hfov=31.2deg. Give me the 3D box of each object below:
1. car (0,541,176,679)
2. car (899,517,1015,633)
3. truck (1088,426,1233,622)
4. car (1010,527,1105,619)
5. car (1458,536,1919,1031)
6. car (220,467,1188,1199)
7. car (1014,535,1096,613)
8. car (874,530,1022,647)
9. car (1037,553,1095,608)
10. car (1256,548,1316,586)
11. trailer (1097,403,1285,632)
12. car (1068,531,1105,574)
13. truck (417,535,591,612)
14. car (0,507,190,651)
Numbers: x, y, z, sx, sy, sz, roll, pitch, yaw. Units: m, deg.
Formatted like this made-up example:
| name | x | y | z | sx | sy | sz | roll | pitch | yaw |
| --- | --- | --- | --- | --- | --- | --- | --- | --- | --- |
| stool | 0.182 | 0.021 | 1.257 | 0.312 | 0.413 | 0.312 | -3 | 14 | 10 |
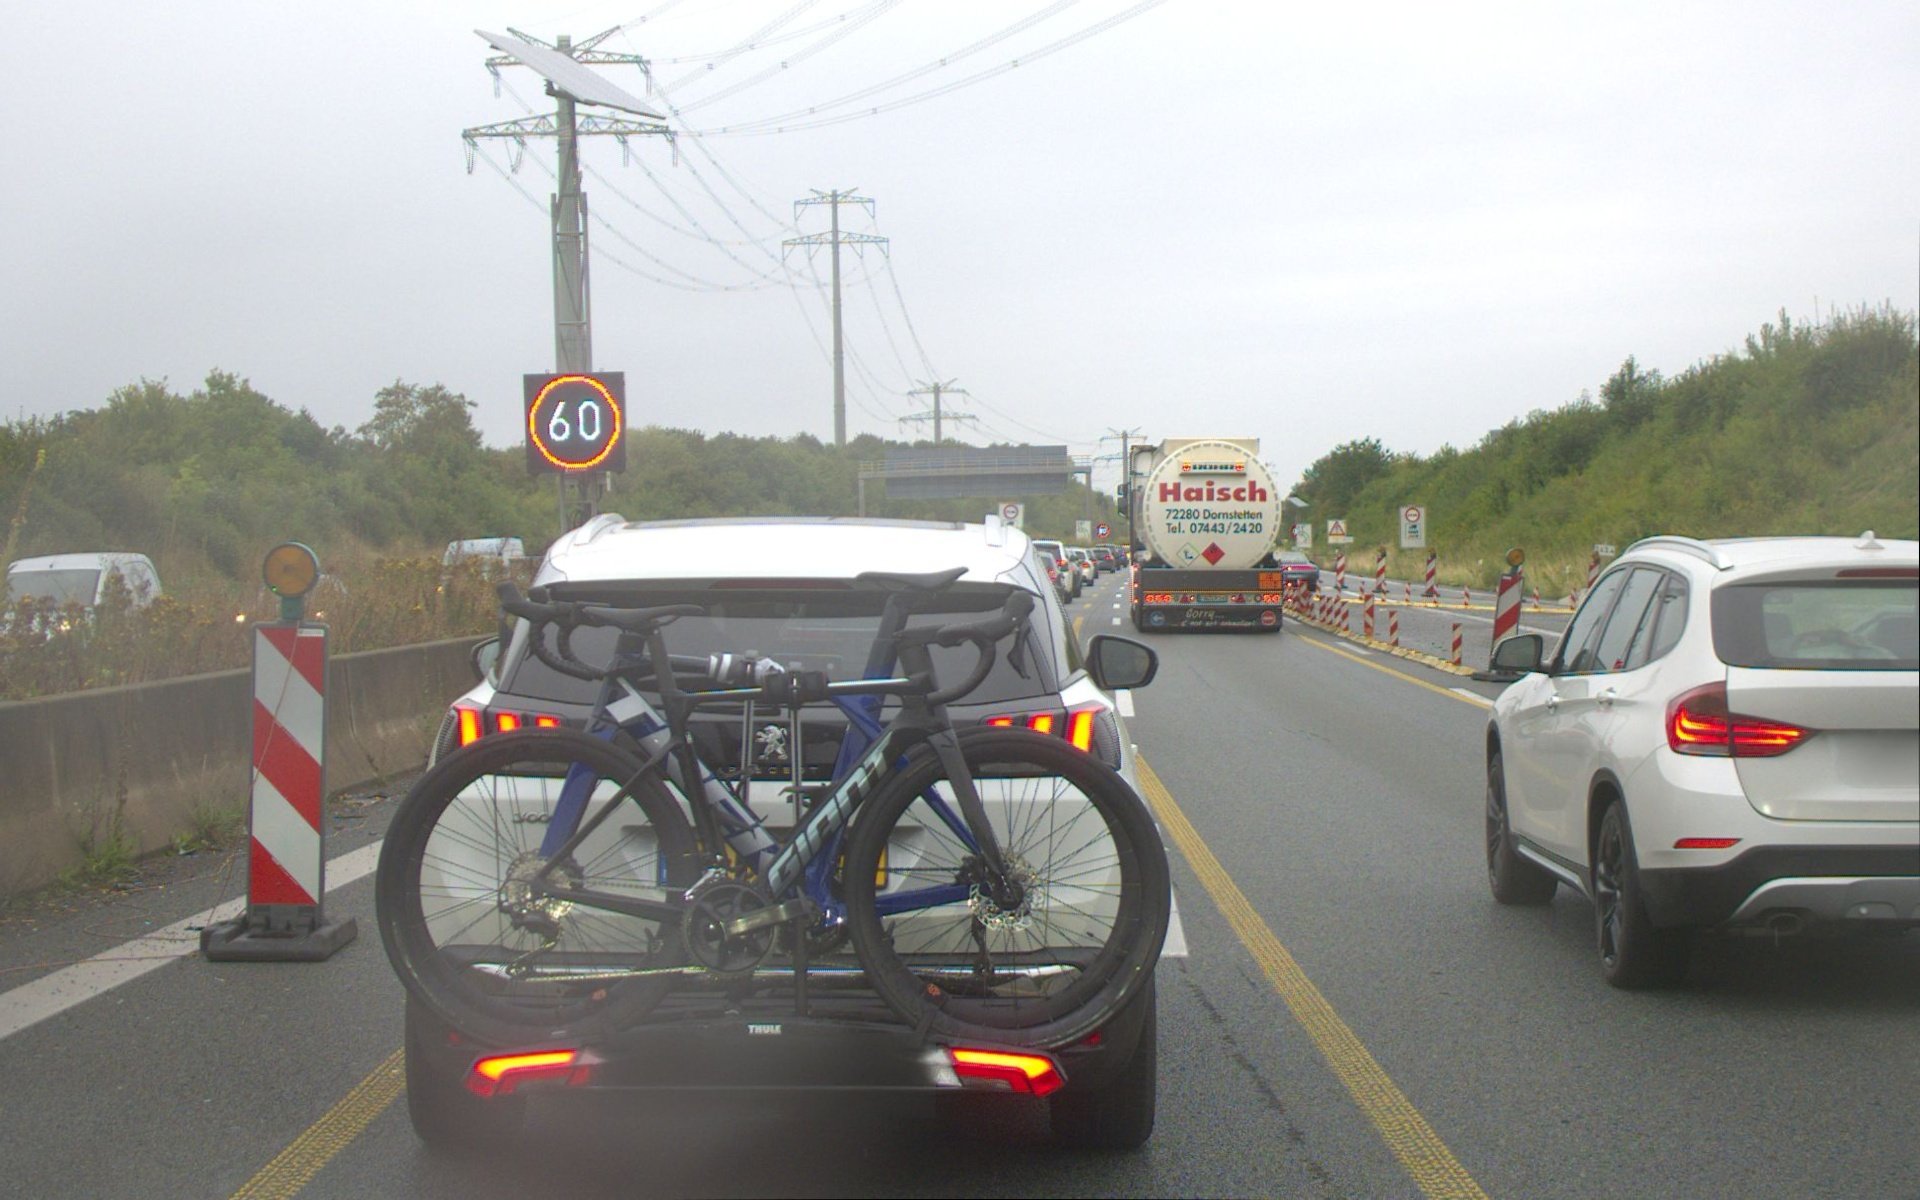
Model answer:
| name | x | y | z | sx | sy | sz | roll | pitch | yaw |
| --- | --- | --- | --- | --- | --- | --- | --- | --- | --- |
| car | -11.598 | 0.101 | 44.387 | 1.868 | 1.644 | 4.000 | -1 | 1 | 2 |
| car | -0.070 | -0.478 | 62.506 | 1.993 | 2.007 | 4.000 | -1 | 1 | 0 |
| truck | 4.080 | -1.527 | 70.592 | 2.644 | 3.877 | 4.030 | 1 | 0 | -1 |
| car | 2.214 | -0.644 | 79.063 | 1.993 | 2.007 | 4.000 | -1 | 1 | -1 |
| car | 3.081 | 0.531 | 12.720 | 1.870 | 1.529 | 4.197 | 0 | 1 | 0 |
| car | -0.446 | 0.502 | 9.143 | 1.928 | 1.605 | 4.595 | 0 | 1 | 2 |
| car | 2.515 | -0.699 | 91.904 | 1.993 | 2.007 | 4.000 | 1 | 0 | -1 |
| car | -0.190 | -0.192 | 48.494 | 1.993 | 1.578 | 4.000 | 0 | 1 | -1 |
| car | 4.009 | -0.749 | 130.581 | 1.993 | 2.007 | 4.000 | 1 | 0 | -1 |
| car | 10.600 | -1.088 | 111.941 | 1.482 | 1.157 | 3.907 | -1 | 1 | -1 |
| trailer | 4.160 | -1.441 | 64.060 | 2.637 | 3.880 | 10.544 | 1 | 0 | -1 |
| car | 5.982 | -2.229 | 161.801 | 1.654 | 2.007 | 4.000 | 0 | 1 | 3 |
| truck | -15.381 | -0.928 | 116.395 | 1.997 | 2.419 | 6.421 | 0 | 2 | 35 |
| car | -11.668 | -0.282 | 45.544 | 1.993 | 1.795 | 4.000 | 1 | 0 | 0 |
